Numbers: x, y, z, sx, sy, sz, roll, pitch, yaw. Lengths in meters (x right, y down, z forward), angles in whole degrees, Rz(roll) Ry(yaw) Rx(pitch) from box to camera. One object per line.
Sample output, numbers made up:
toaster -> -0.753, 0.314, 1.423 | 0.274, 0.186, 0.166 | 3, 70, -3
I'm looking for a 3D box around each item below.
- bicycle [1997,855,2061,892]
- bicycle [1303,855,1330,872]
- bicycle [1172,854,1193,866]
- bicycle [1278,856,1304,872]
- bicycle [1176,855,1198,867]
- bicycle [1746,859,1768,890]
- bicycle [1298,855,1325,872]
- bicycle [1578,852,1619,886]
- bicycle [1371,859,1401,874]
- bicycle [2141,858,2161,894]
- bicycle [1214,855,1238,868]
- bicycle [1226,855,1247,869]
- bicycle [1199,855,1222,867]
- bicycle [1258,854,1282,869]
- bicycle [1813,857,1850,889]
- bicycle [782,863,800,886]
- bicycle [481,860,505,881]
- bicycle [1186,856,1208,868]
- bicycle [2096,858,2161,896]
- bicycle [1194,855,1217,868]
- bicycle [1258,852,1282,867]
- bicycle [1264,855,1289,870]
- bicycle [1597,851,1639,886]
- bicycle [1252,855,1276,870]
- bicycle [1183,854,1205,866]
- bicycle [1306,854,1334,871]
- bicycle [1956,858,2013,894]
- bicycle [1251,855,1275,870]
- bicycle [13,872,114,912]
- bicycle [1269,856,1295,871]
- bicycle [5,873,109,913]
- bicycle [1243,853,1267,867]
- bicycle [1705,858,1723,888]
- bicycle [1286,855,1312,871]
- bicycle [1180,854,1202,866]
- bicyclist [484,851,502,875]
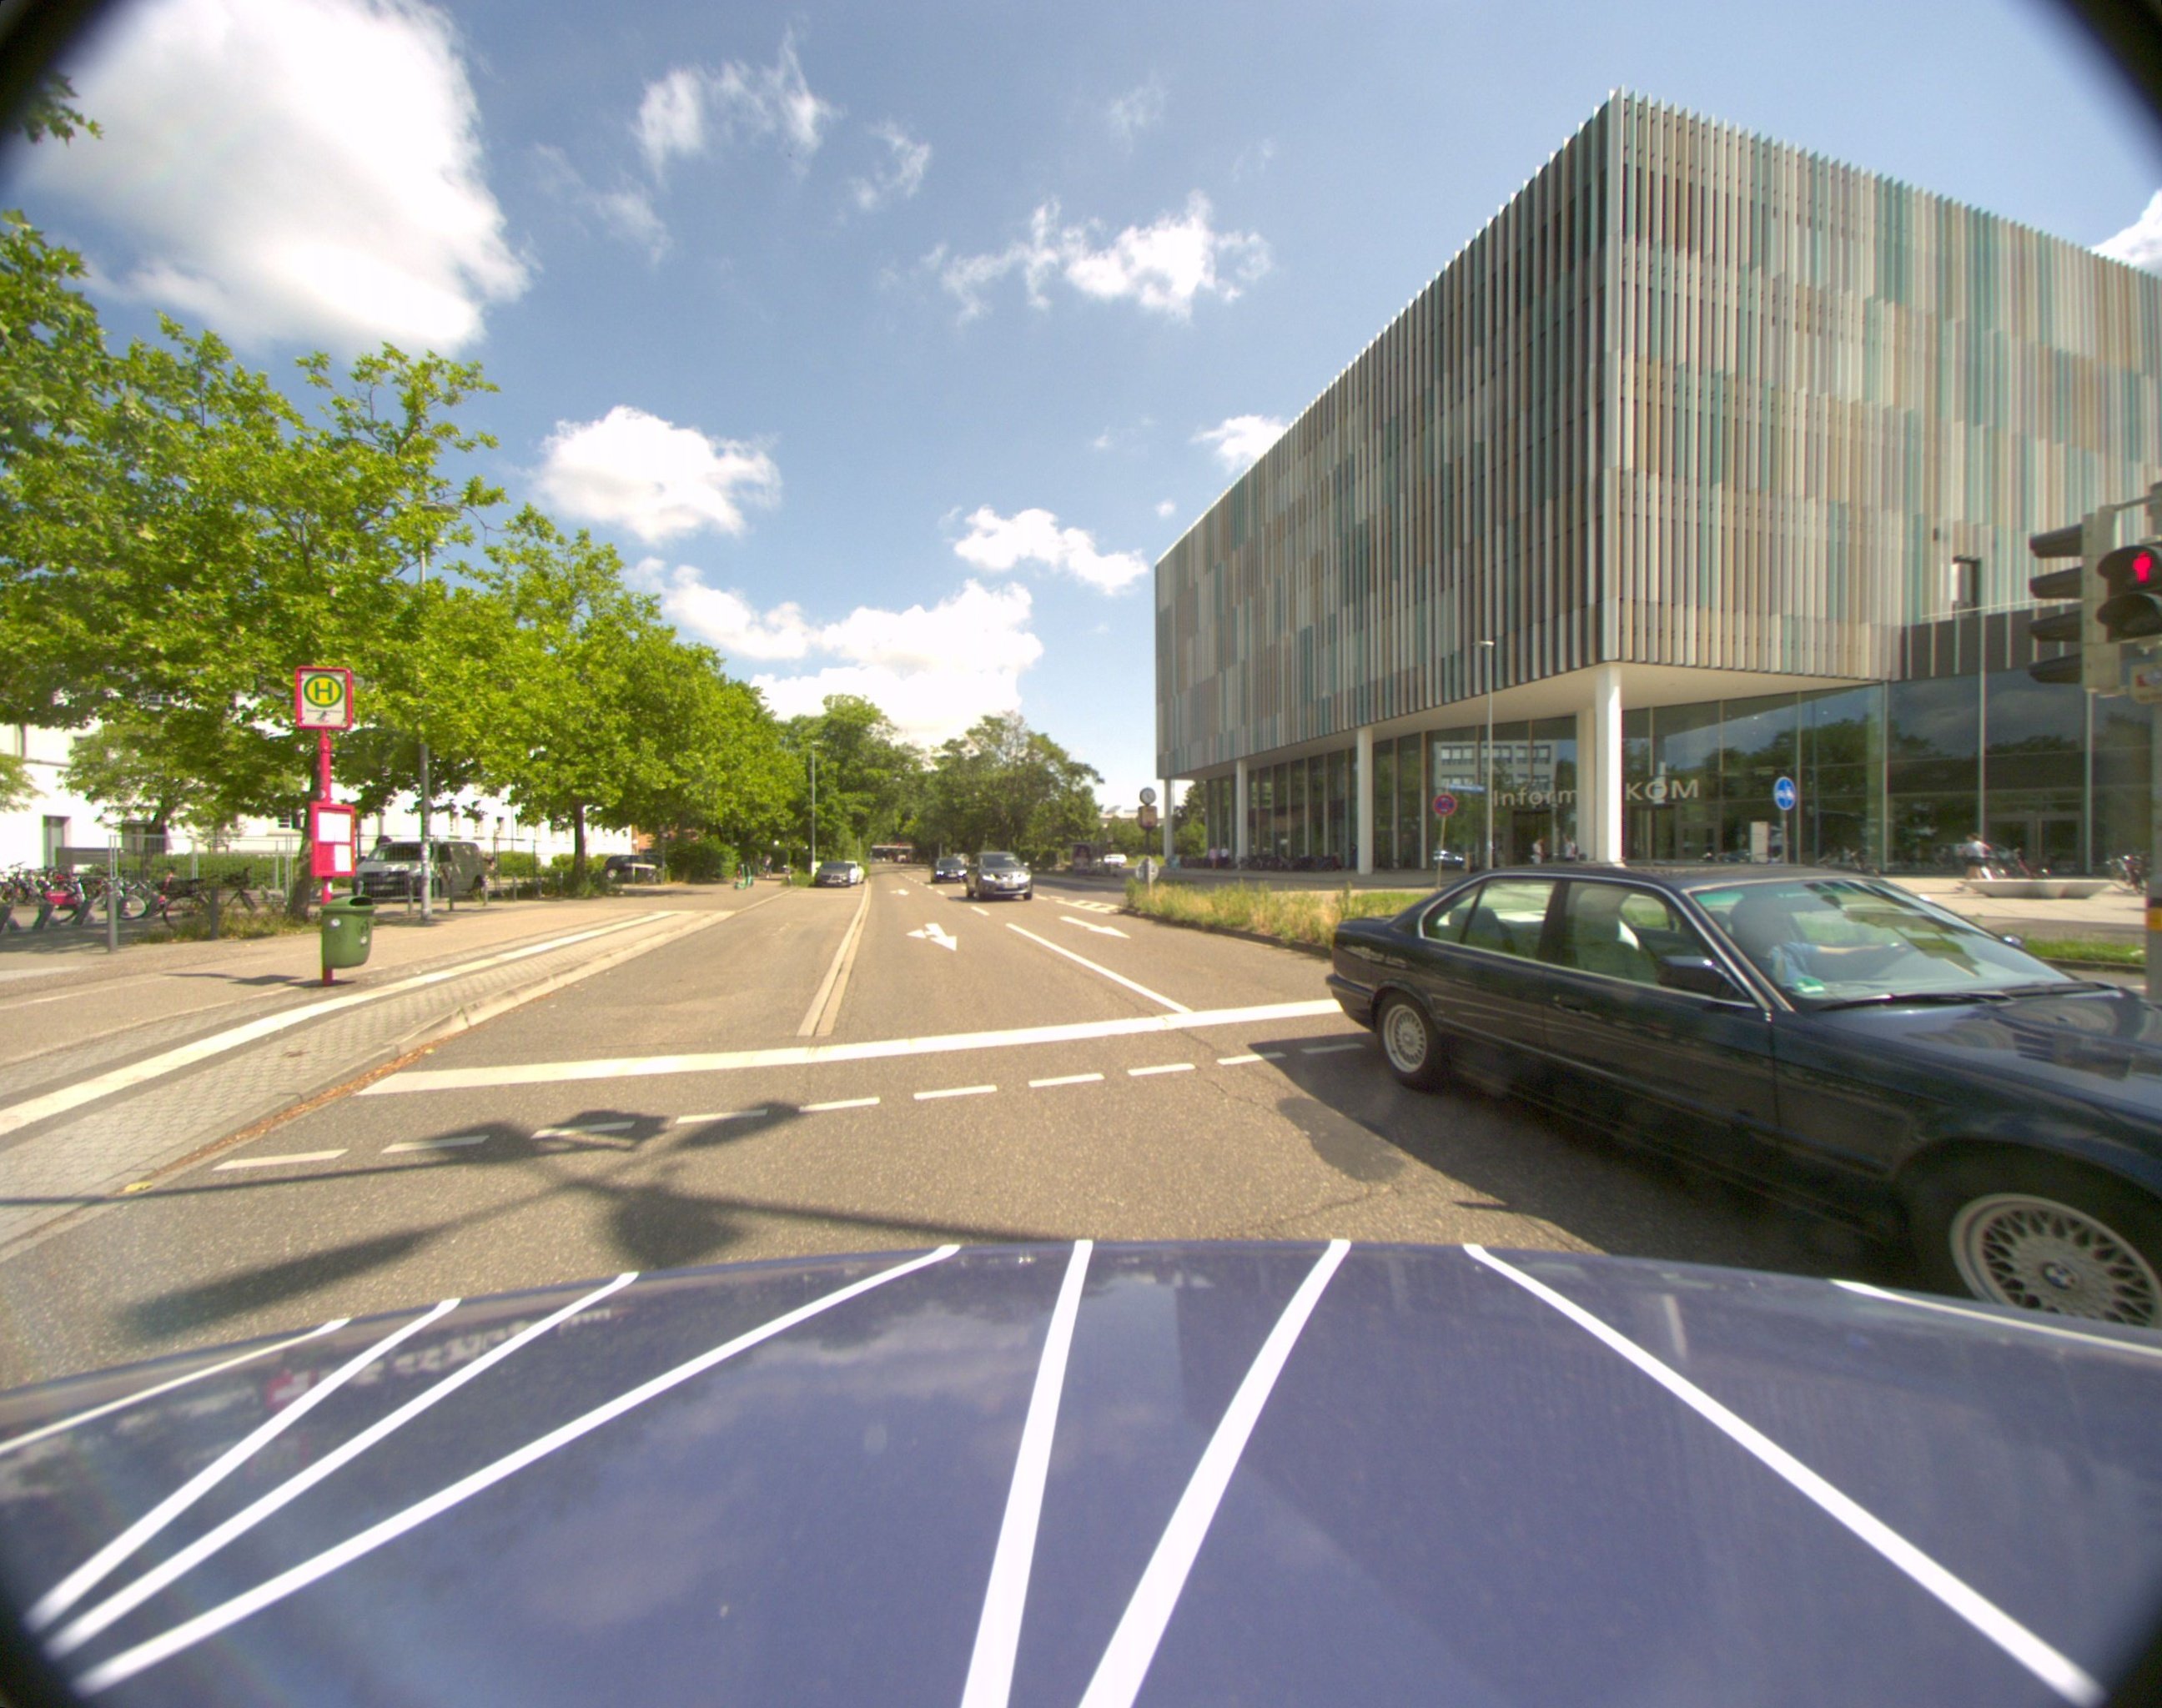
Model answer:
bicycle -> 26.980, 0.546, 21.656 | 0.528, 0.949, 1.776 | -4, 0, 31
bicycle -> 14.505, 0.582, 46.763 | 1.545, 0.950, 0.373 | -2, 1, 0
bicycle -> 8.934, 0.495, 66.814 | 1.786, 0.950, 0.432 | -2, 1, -16
bicycle -> 13.537, 0.628, 49.017 | 1.545, 0.950, 0.373 | -2, 1, 0
bicycle -> 9.213, 0.611, 65.962 | 1.786, 0.950, 0.432 | -2, 1, -16
bicycle -> 22.626, 0.676, 25.459 | 0.372, 0.950, 1.777 | 0, 1, 36
bicycle -> 14.406, 0.586, 47.440 | 1.545, 0.950, 0.373 | -2, 1, 0
bicycle -> 19.112, 0.530, 28.060 | 1.547, 1.180, 0.373 | -2, 2, -17
bicycle -> 16.547, 0.672, 41.276 | 1.547, 0.771, 0.373 | -2, 1, -12
bicycle -> 29.114, 0.593, 20.093 | 0.527, 0.950, 1.776 | -1, 1, 29
bicycle -> 11.213, 0.596, 58.886 | 1.786, 0.950, 0.432 | -2, 1, -16
bicycle -> 11.223, 0.592, 54.877 | 1.548, 0.950, 0.373 | -3, 1, -26
bicycle -> 10.461, 0.566, 61.223 | 1.786, 0.950, 0.432 | -2, 1, -16
bicycle -> 12.836, 0.527, 51.585 | 1.545, 0.950, 0.373 | -2, 1, 0
bicycle -> 23.900, 0.597, 24.186 | 1.776, 0.950, 0.527 | -2, 1, -35
bicycle -> -15.000, 1.040, 39.323 | 0.640, 1.183, 2.116 | 1, -1, -16
bicycle -> -32.861, 0.903, 42.454 | 0.608, 1.131, 1.585 | 0, 0, -21
bicycle -> 9.715, 0.646, 63.605 | 1.786, 0.950, 0.432 | -2, 1, -16
bicycle -> 28.580, 0.609, 20.639 | 0.527, 0.950, 1.776 | -1, 1, 29
bicycle -> 10.197, 0.610, 62.222 | 1.786, 0.950, 0.432 | -2, 1, -16
bicycle -> 12.950, 0.371, 52.137 | 1.545, 0.950, 0.373 | -2, 1, 0
bicycle -> 13.068, 0.548, 50.743 | 1.545, 0.950, 0.373 | -2, 1, 0
bicycle -> 19.408, 0.506, 27.467 | 1.547, 1.180, 0.373 | -3, 2, -17
bicycle -> 12.727, 0.594, 52.753 | 1.545, 0.950, 0.373 | -2, 1, 0
bicycle -> 9.624, 0.522, 64.614 | 1.786, 0.950, 0.432 | -2, 1, -16
bicycle -> 14.521, 0.520, 46.206 | 1.545, 0.950, 0.373 | -2, 1, 0
bicycle -> 26.210, 0.607, 22.068 | 0.527, 0.950, 1.776 | 0, 1, 31
bicycle -> 12.732, 0.580, 53.173 | 1.545, 0.950, 0.373 | -2, 1, 0
bicycle -> -31.396, 1.164, 23.485 | 0.591, 1.092, 1.771 | -1, 2, 44
bicycle -> 13.131, 0.633, 49.648 | 1.545, 0.950, 0.373 | -2, 1, 0
bicycle -> -30.982, 1.157, 23.027 | 0.514, 1.092, 1.771 | -1, 2, 44
bicycle -> 12.451, 0.444, 54.399 | 1.545, 0.950, 0.373 | -2, 1, 0
bicycle -> 21.615, 0.645, 25.939 | 0.372, 0.950, 1.549 | 0, 1, 36
bicycle -> 13.922, 0.562, 48.538 | 1.545, 0.950, 0.373 | -2, 1, 0
bicycle -> 9.444, 0.503, 65.216 | 1.786, 0.950, 0.432 | -2, 1, -16
bicyclist -> -32.859, 0.522, 42.441 | 0.608, 1.313, 0.741 | 0, 1, -21
